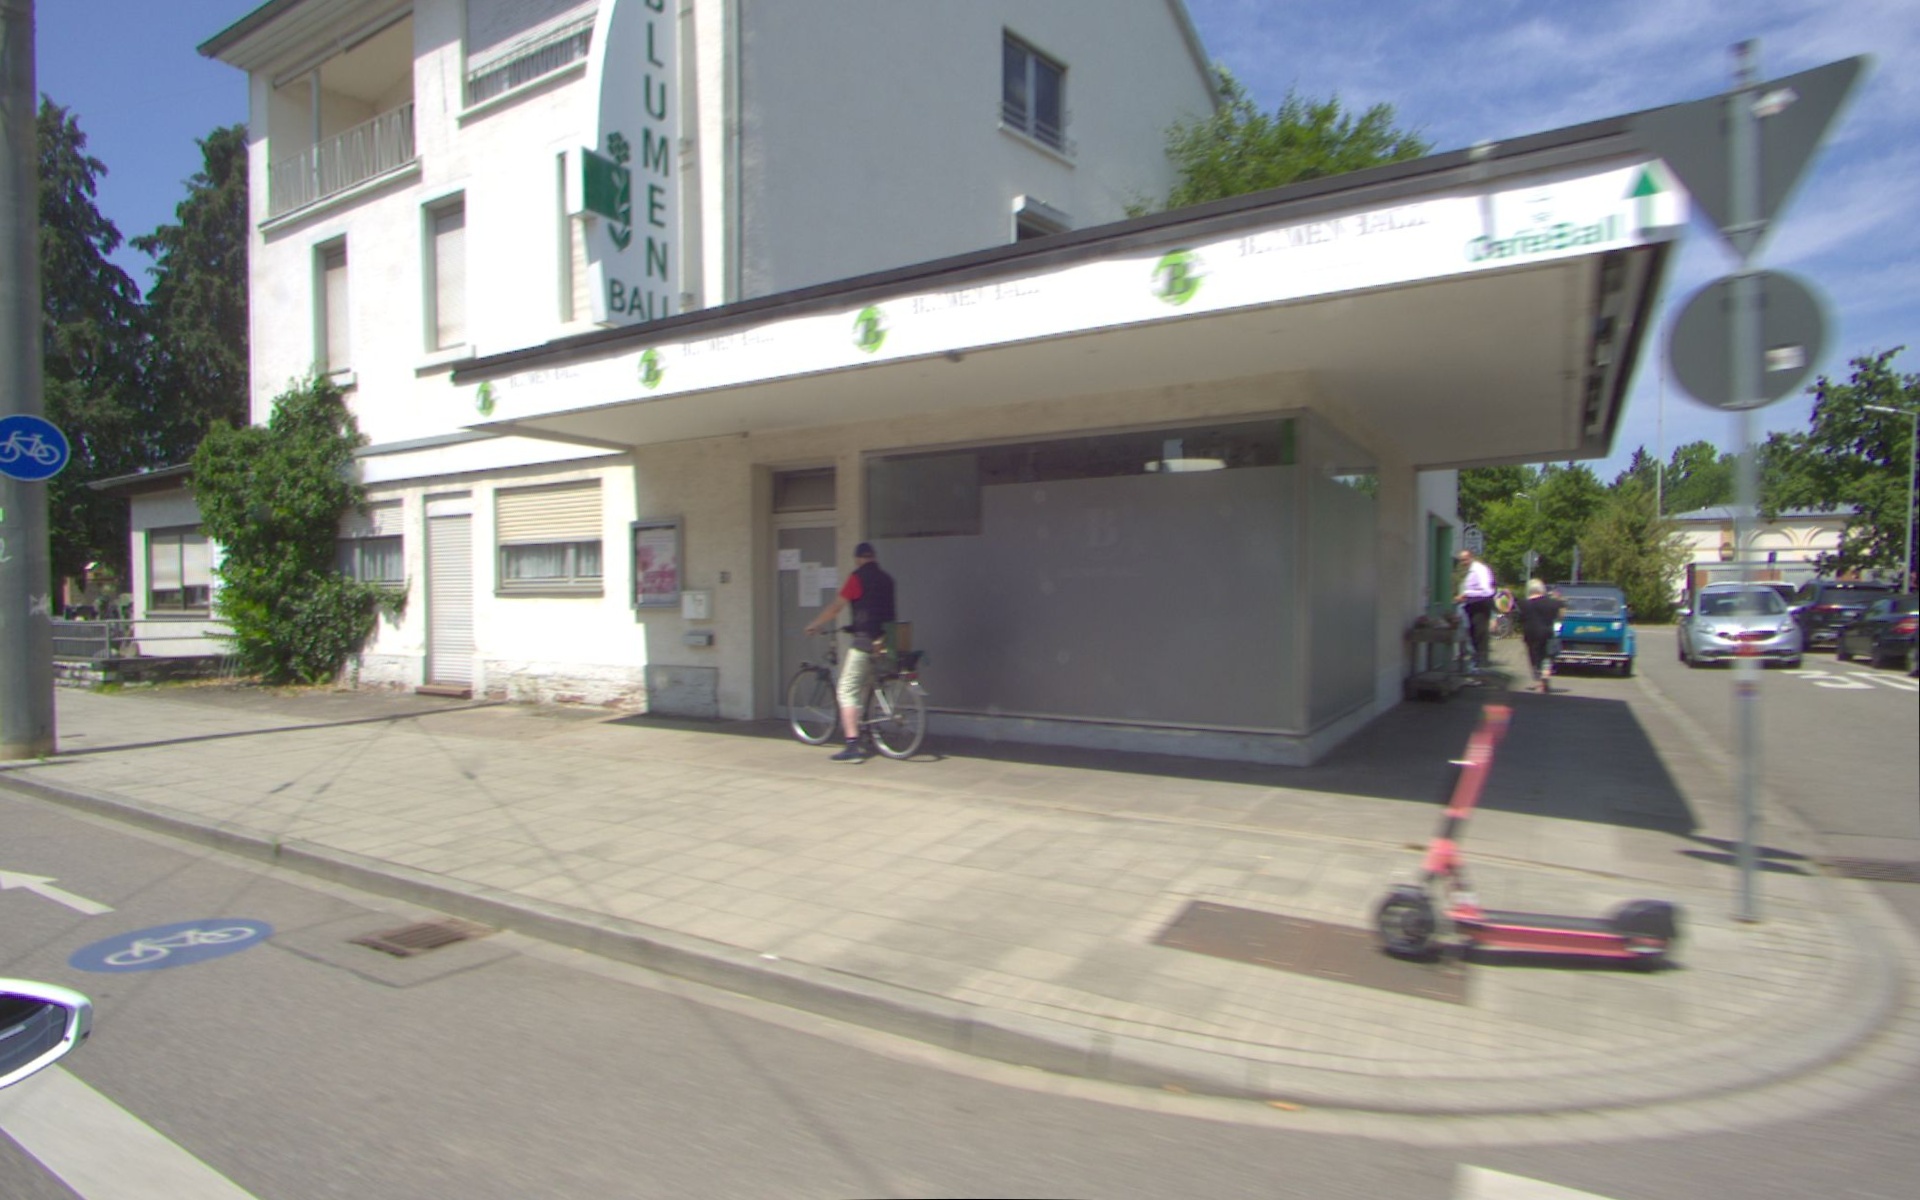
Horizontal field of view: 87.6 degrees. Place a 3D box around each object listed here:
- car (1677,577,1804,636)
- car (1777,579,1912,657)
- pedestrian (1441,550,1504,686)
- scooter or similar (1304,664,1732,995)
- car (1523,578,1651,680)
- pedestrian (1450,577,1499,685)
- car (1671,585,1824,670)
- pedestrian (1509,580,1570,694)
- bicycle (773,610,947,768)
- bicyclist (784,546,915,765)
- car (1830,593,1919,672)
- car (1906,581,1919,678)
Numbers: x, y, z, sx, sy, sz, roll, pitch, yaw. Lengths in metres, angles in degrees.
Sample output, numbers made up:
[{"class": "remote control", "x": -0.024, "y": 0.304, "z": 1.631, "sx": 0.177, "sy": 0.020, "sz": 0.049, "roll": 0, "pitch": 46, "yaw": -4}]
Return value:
[{"class": "car", "x": 27.637, "y": 0.207, "z": 35.662, "sx": 1.838, "sy": 1.925, "sz": 4.658, "roll": 0, "pitch": 0, "yaw": 14}, {"class": "car", "x": 21.339, "y": 0.374, "z": 24.317, "sx": 1.759, "sy": 1.721, "sz": 3.673, "roll": 1, "pitch": 1, "yaw": 31}, {"class": "pedestrian", "x": 7.578, "y": 0.254, "z": 14.801, "sx": 0.739, "sy": 1.929, "sz": 0.854, "roll": 1, "pitch": 2, "yaw": 33}, {"class": "scooter or similar", "x": 2.147, "y": 0.865, "z": 3.960, "sx": 1.439, "sy": 1.194, "sz": 0.340, "roll": 0, "pitch": 1, "yaw": 8}, {"class": "car", "x": 11.437, "y": 0.452, "z": 18.493, "sx": 1.564, "sy": 1.640, "sz": 3.984, "roll": 2, "pitch": 2, "yaw": 26}, {"class": "pedestrian", "x": 7.972, "y": 0.465, "z": 15.519, "sx": 0.618, "sy": 1.634, "sz": 0.475, "roll": 1, "pitch": 2, "yaw": 33}, {"class": "car", "x": 15.906, "y": 0.495, "z": 20.440, "sx": 1.971, "sy": 1.550, "sz": 3.979, "roll": 0, "pitch": 0, "yaw": 31}, {"class": "pedestrian", "x": 8.248, "y": 0.501, "z": 14.248, "sx": 0.697, "sy": 1.563, "sz": 0.909, "roll": 1, "pitch": 2, "yaw": 32}, {"class": "bicycle", "x": -0.919, "y": 0.721, "z": 8.747, "sx": 1.884, "sy": 1.214, "sz": 0.373, "roll": 1, "pitch": 2, "yaw": 43}, {"class": "bicyclist", "x": -0.965, "y": 0.442, "z": 8.713, "sx": 0.914, "sy": 1.785, "sz": 0.723, "roll": 2, "pitch": 3, "yaw": 44}, {"class": "car", "x": 18.381, "y": 0.555, "z": 19.174, "sx": 1.824, "sy": 1.372, "sz": 4.271, "roll": 1, "pitch": 1, "yaw": 31}, {"class": "car", "x": 15.906, "y": 0.527, "z": 15.017, "sx": 1.685, "sy": 1.584, "sz": 3.684, "roll": 3, "pitch": 2, "yaw": 31}]
